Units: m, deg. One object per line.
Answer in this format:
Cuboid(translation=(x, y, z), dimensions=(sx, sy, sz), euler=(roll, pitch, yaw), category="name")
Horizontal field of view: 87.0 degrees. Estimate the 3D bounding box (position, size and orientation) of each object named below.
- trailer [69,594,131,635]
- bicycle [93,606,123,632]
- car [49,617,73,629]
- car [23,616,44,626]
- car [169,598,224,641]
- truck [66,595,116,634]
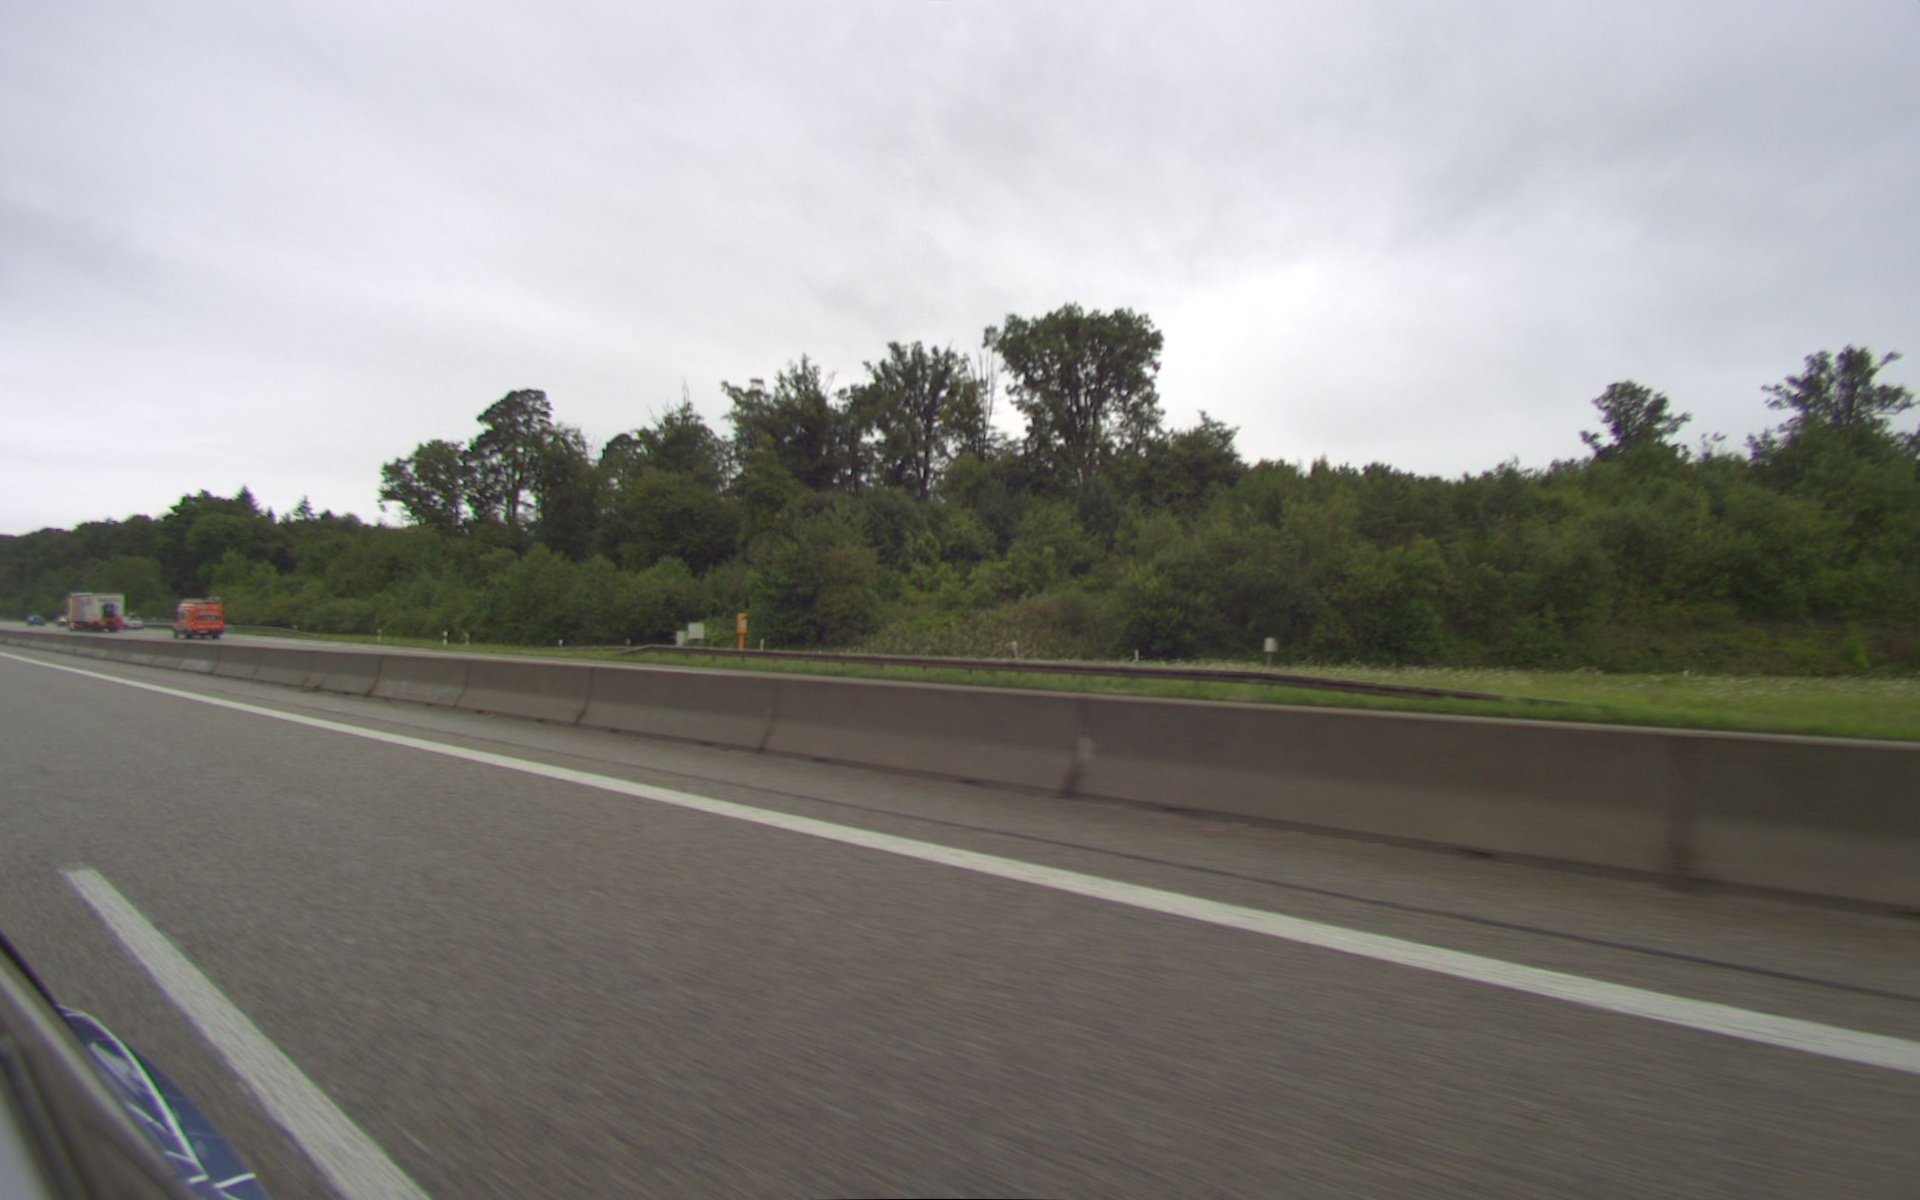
Cuboid(translation=(-90.415, 1.544, 106.312), dimensions=(12.607, 4.048, 3.326), euler=(-1, -1, 42), category="trailer")
Cuboid(translation=(-85.447, 1.937, 101.512), dimensions=(1.110, 2.545, 2.170), euler=(-1, 0, 41), category="bicycle")
Cuboid(translation=(-121.616, 3.098, 136.871), dimensions=(3.999, 1.630, 1.972), euler=(-1, -1, 42), category="car")
Cuboid(translation=(-134.726, 3.099, 147.163), dimensions=(3.997, 1.453, 1.693), euler=(-1, -2, 40), category="car")
Cuboid(translation=(-57.436, 1.450, 76.082), dimensions=(5.973, 3.066, 2.157), euler=(-1, -1, 41), category="car")
Cuboid(translation=(-94.368, 1.596, 109.903), dimensions=(6.463, 4.059, 3.312), euler=(-1, -1, 42), category="truck")
